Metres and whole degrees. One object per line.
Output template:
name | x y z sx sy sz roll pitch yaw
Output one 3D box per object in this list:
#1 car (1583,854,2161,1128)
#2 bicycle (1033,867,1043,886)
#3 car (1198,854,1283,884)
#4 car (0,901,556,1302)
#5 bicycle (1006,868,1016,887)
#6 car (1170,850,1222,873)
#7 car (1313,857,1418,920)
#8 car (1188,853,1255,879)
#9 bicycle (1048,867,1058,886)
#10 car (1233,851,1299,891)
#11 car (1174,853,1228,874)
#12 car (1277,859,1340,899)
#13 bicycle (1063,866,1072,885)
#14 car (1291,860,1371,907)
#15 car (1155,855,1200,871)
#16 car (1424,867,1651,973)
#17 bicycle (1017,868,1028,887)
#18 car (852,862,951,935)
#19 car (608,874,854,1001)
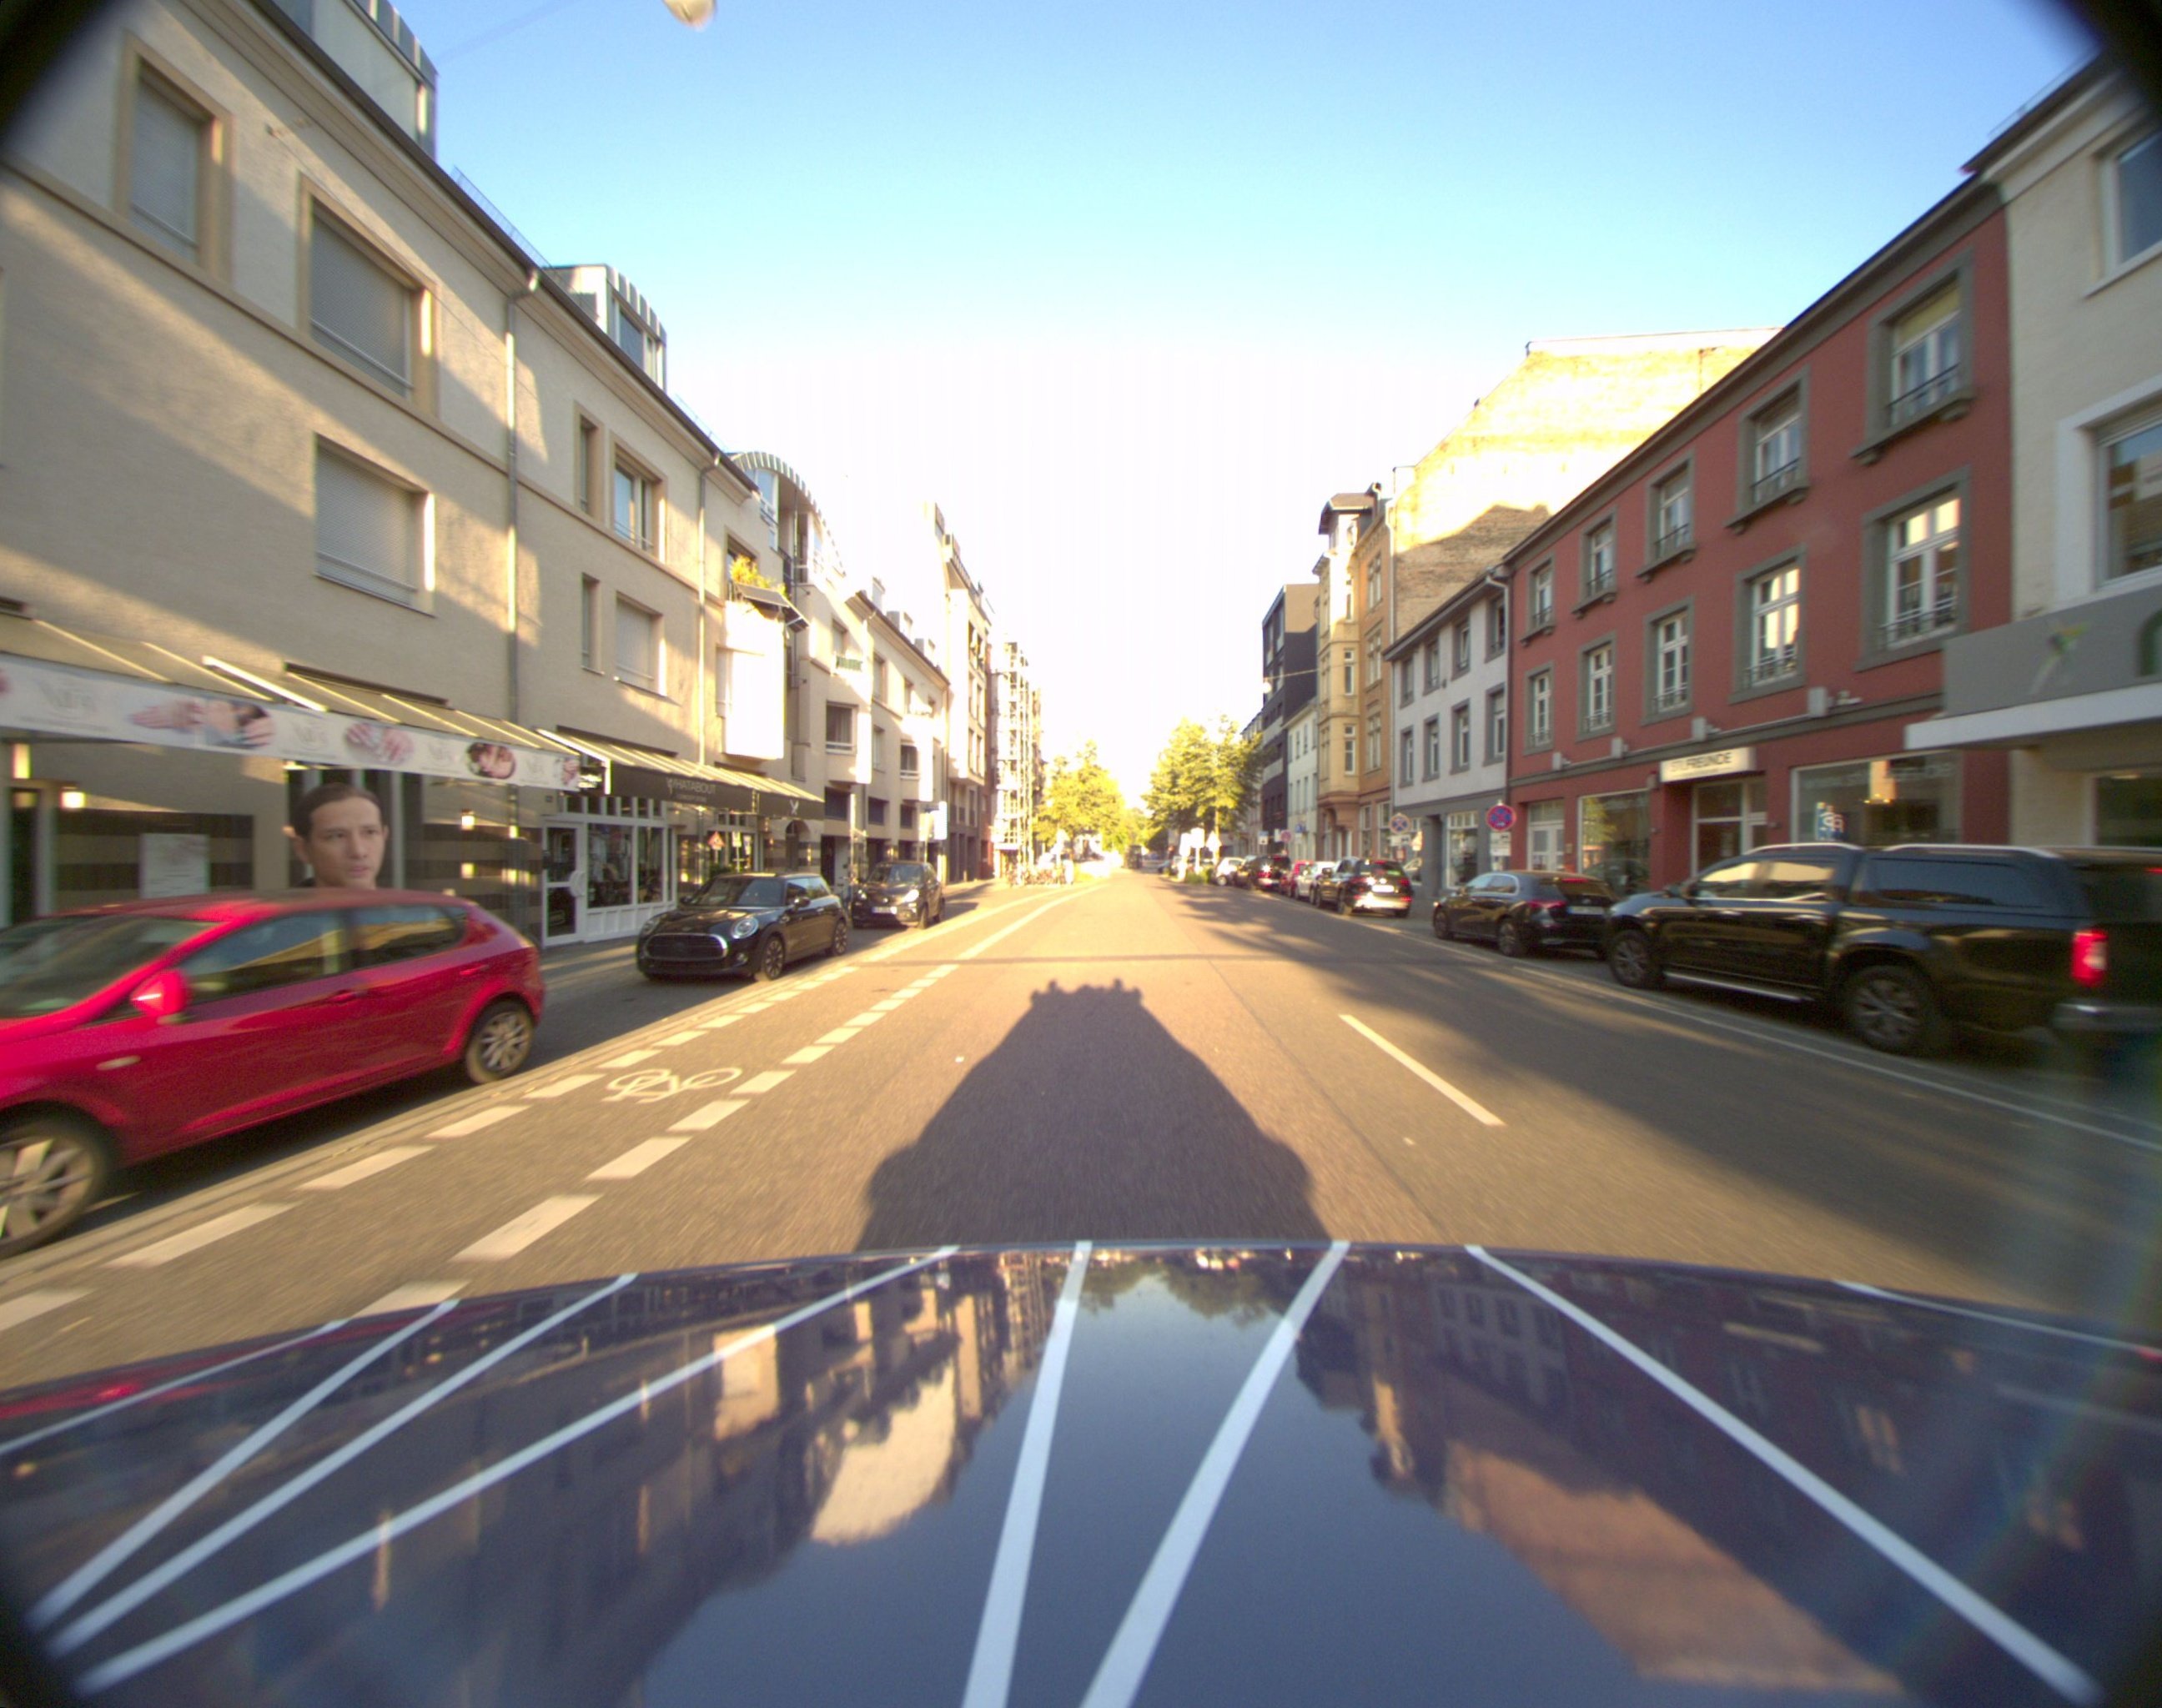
car | 7.700 0.904 7.561 1.998 1.759 5.300 1 0 2
bicycle | -2.299 1.194 40.471 0.469 0.952 1.918 0 0 -1
car | 8.724 0.813 41.805 4.192 1.572 2.056 1 0 -2
car | -5.224 1.109 4.191 1.726 1.413 4.033 1 0 3
bicycle | -3.683 1.239 40.321 0.470 0.952 1.918 0 0 -4
car | 10.197 0.681 67.660 4.192 1.971 2.056 1 1 -2
car | 8.229 0.932 22.382 1.770 1.604 4.218 1 0 4
car | 9.108 0.784 49.390 3.910 1.572 1.959 1 0 -2
bicycle | -1.491 1.169 40.591 0.469 0.952 1.918 0 0 -1
car | 8.619 0.761 35.712 2.055 1.742 4.217 1 0 0
car | 9.832 0.784 62.426 4.131 1.666 1.996 1 0 0
car | 9.162 0.954 30.829 1.689 1.455 3.543 1 0 4
bicycle | -0.736 1.145 40.667 0.469 0.952 1.918 0 0 -1
car | 8.731 0.979 26.863 1.770 1.455 3.868 1 0 4
car | 10.101 0.956 79.753 4.196 1.618 2.053 1 0 -14
car | 7.902 1.035 13.697 1.770 1.502 4.218 1 0 4
bicycle | -3.092 1.218 40.195 0.469 0.952 1.918 0 0 -1
car | -4.195 0.991 18.154 1.571 1.540 2.804 1 0 3
car | -4.834 1.064 11.139 1.726 1.413 3.749 1 0 3
